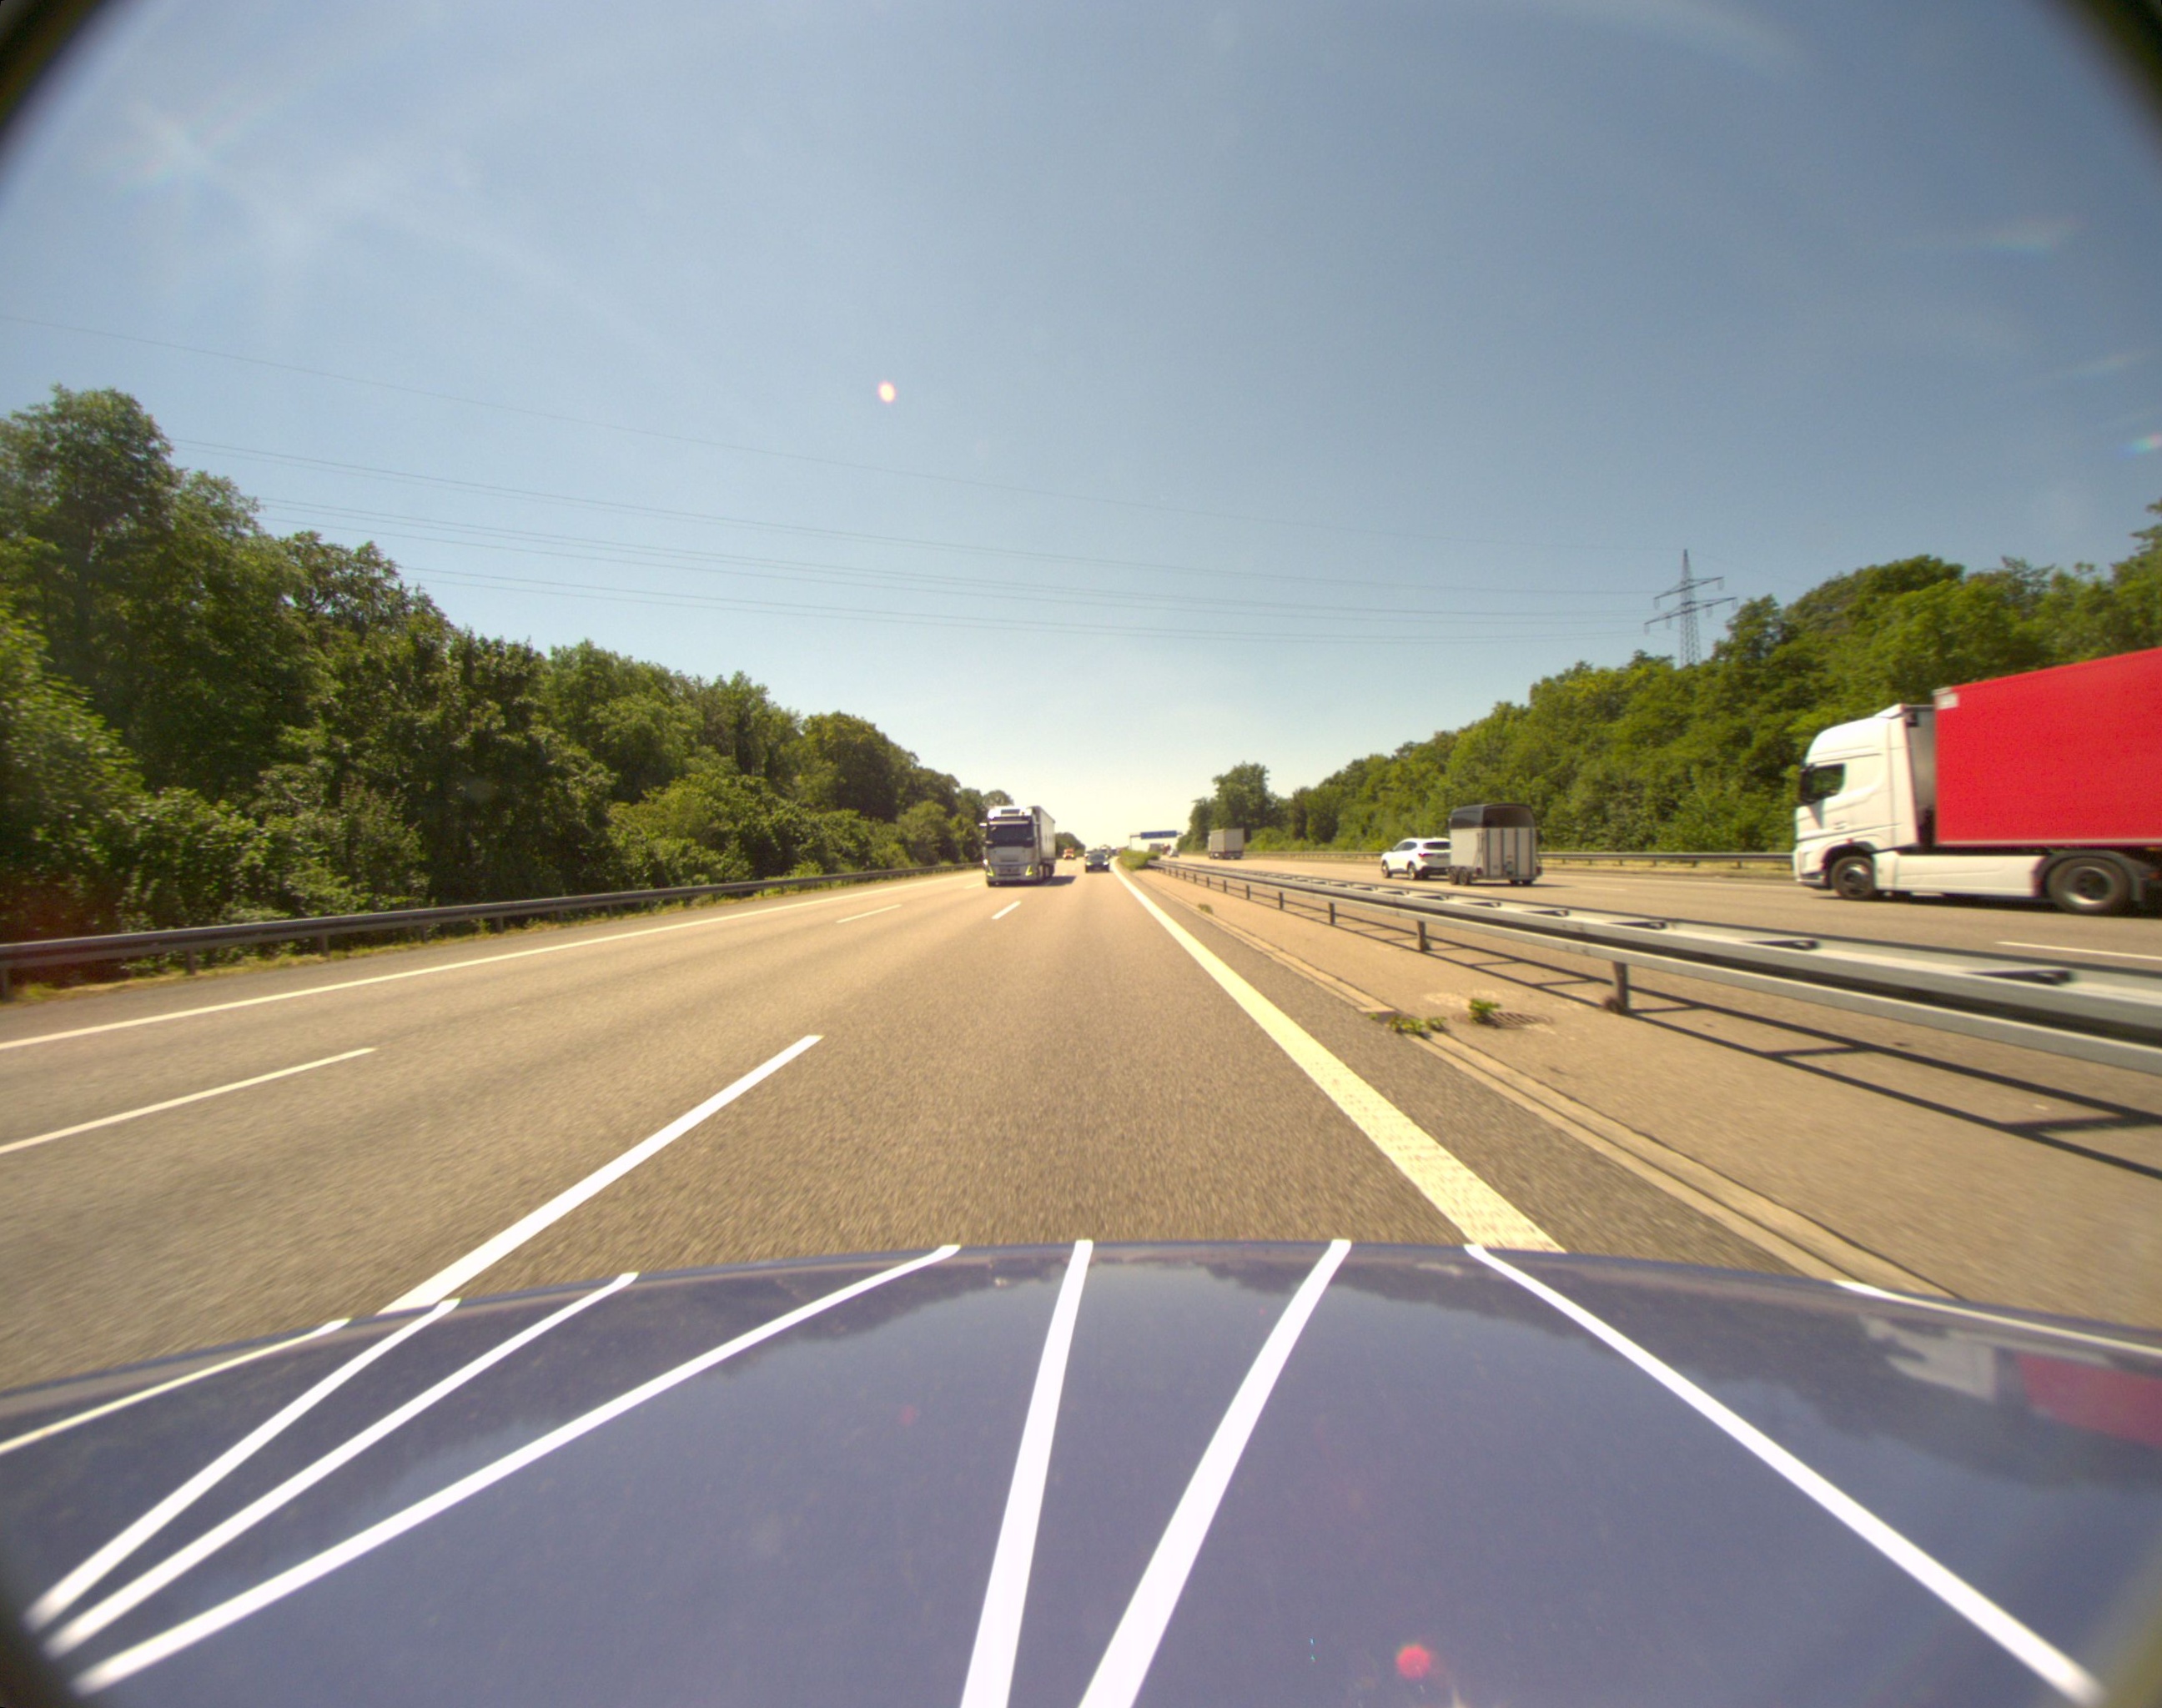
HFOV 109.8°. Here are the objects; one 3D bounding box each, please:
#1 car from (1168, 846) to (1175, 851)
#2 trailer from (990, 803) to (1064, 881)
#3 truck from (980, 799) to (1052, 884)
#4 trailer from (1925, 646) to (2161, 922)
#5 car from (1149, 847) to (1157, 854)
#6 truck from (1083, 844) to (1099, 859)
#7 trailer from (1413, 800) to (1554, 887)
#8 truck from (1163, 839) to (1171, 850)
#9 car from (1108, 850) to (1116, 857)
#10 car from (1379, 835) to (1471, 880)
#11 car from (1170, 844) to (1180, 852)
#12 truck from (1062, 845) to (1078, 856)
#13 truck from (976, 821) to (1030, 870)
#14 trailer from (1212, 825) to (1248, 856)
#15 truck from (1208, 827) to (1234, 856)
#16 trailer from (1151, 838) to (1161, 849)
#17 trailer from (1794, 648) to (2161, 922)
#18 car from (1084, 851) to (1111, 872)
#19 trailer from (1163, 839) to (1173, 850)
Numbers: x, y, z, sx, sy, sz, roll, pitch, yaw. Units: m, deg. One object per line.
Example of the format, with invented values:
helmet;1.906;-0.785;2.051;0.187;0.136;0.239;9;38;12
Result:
car;27.834;-1.563;233.771;1.725;1.471;4.000;-2;0;2
trailer;-2.936;-0.659;45.951;2.746;3.952;13.655;-2;0;3
truck;-3.207;-0.609;39.354;2.729;3.952;6.502;-2;1;3
trailer;17.081;-1.033;7.242;2.690;4.044;14.050;-2;0;1
car;16.264;-0.794;172.491;1.669;1.445;4.124;-2;0;3
truck;2.411;-0.600;176.603;2.858;3.163;10.714;-2;0;5
trailer;13.474;-0.337;25.859;2.091;2.598;4.955;-2;1;0
truck;29.382;-3.234;260.974;2.362;3.581;4.164;-2;1;2
car;7.990;-0.107;195.311;1.879;1.630;3.999;-2;0;0
car;13.628;0.128;30.403;1.840;1.622;4.019;-2;0;0
car;18.798;-1.187;151.527;1.669;1.445;4.124;-2;0;3
truck;-2.430;-0.817;167.163;2.436;2.426;10.012;-2;0;5
truck;-6.869;-0.864;69.736;3.049;3.948;14.451;-2;1;1
trailer;20.229;-1.757;104.251;2.677;3.943;13.664;-2;0;2
truck;20.577;-1.824;112.053;2.666;3.962;6.554;-2;1;2
trailer;26.535;-3.603;269.229;2.471;3.913;14.401;-2;0;2
trailer;17.238;-1.072;13.898;2.695;4.018;6.036;-2;1;1
car;1.208;0.529;55.670;1.800;1.390;4.833;-2;0;1
trailer;29.014;-3.175;253.341;2.377;3.575;14.222;-2;0;3
